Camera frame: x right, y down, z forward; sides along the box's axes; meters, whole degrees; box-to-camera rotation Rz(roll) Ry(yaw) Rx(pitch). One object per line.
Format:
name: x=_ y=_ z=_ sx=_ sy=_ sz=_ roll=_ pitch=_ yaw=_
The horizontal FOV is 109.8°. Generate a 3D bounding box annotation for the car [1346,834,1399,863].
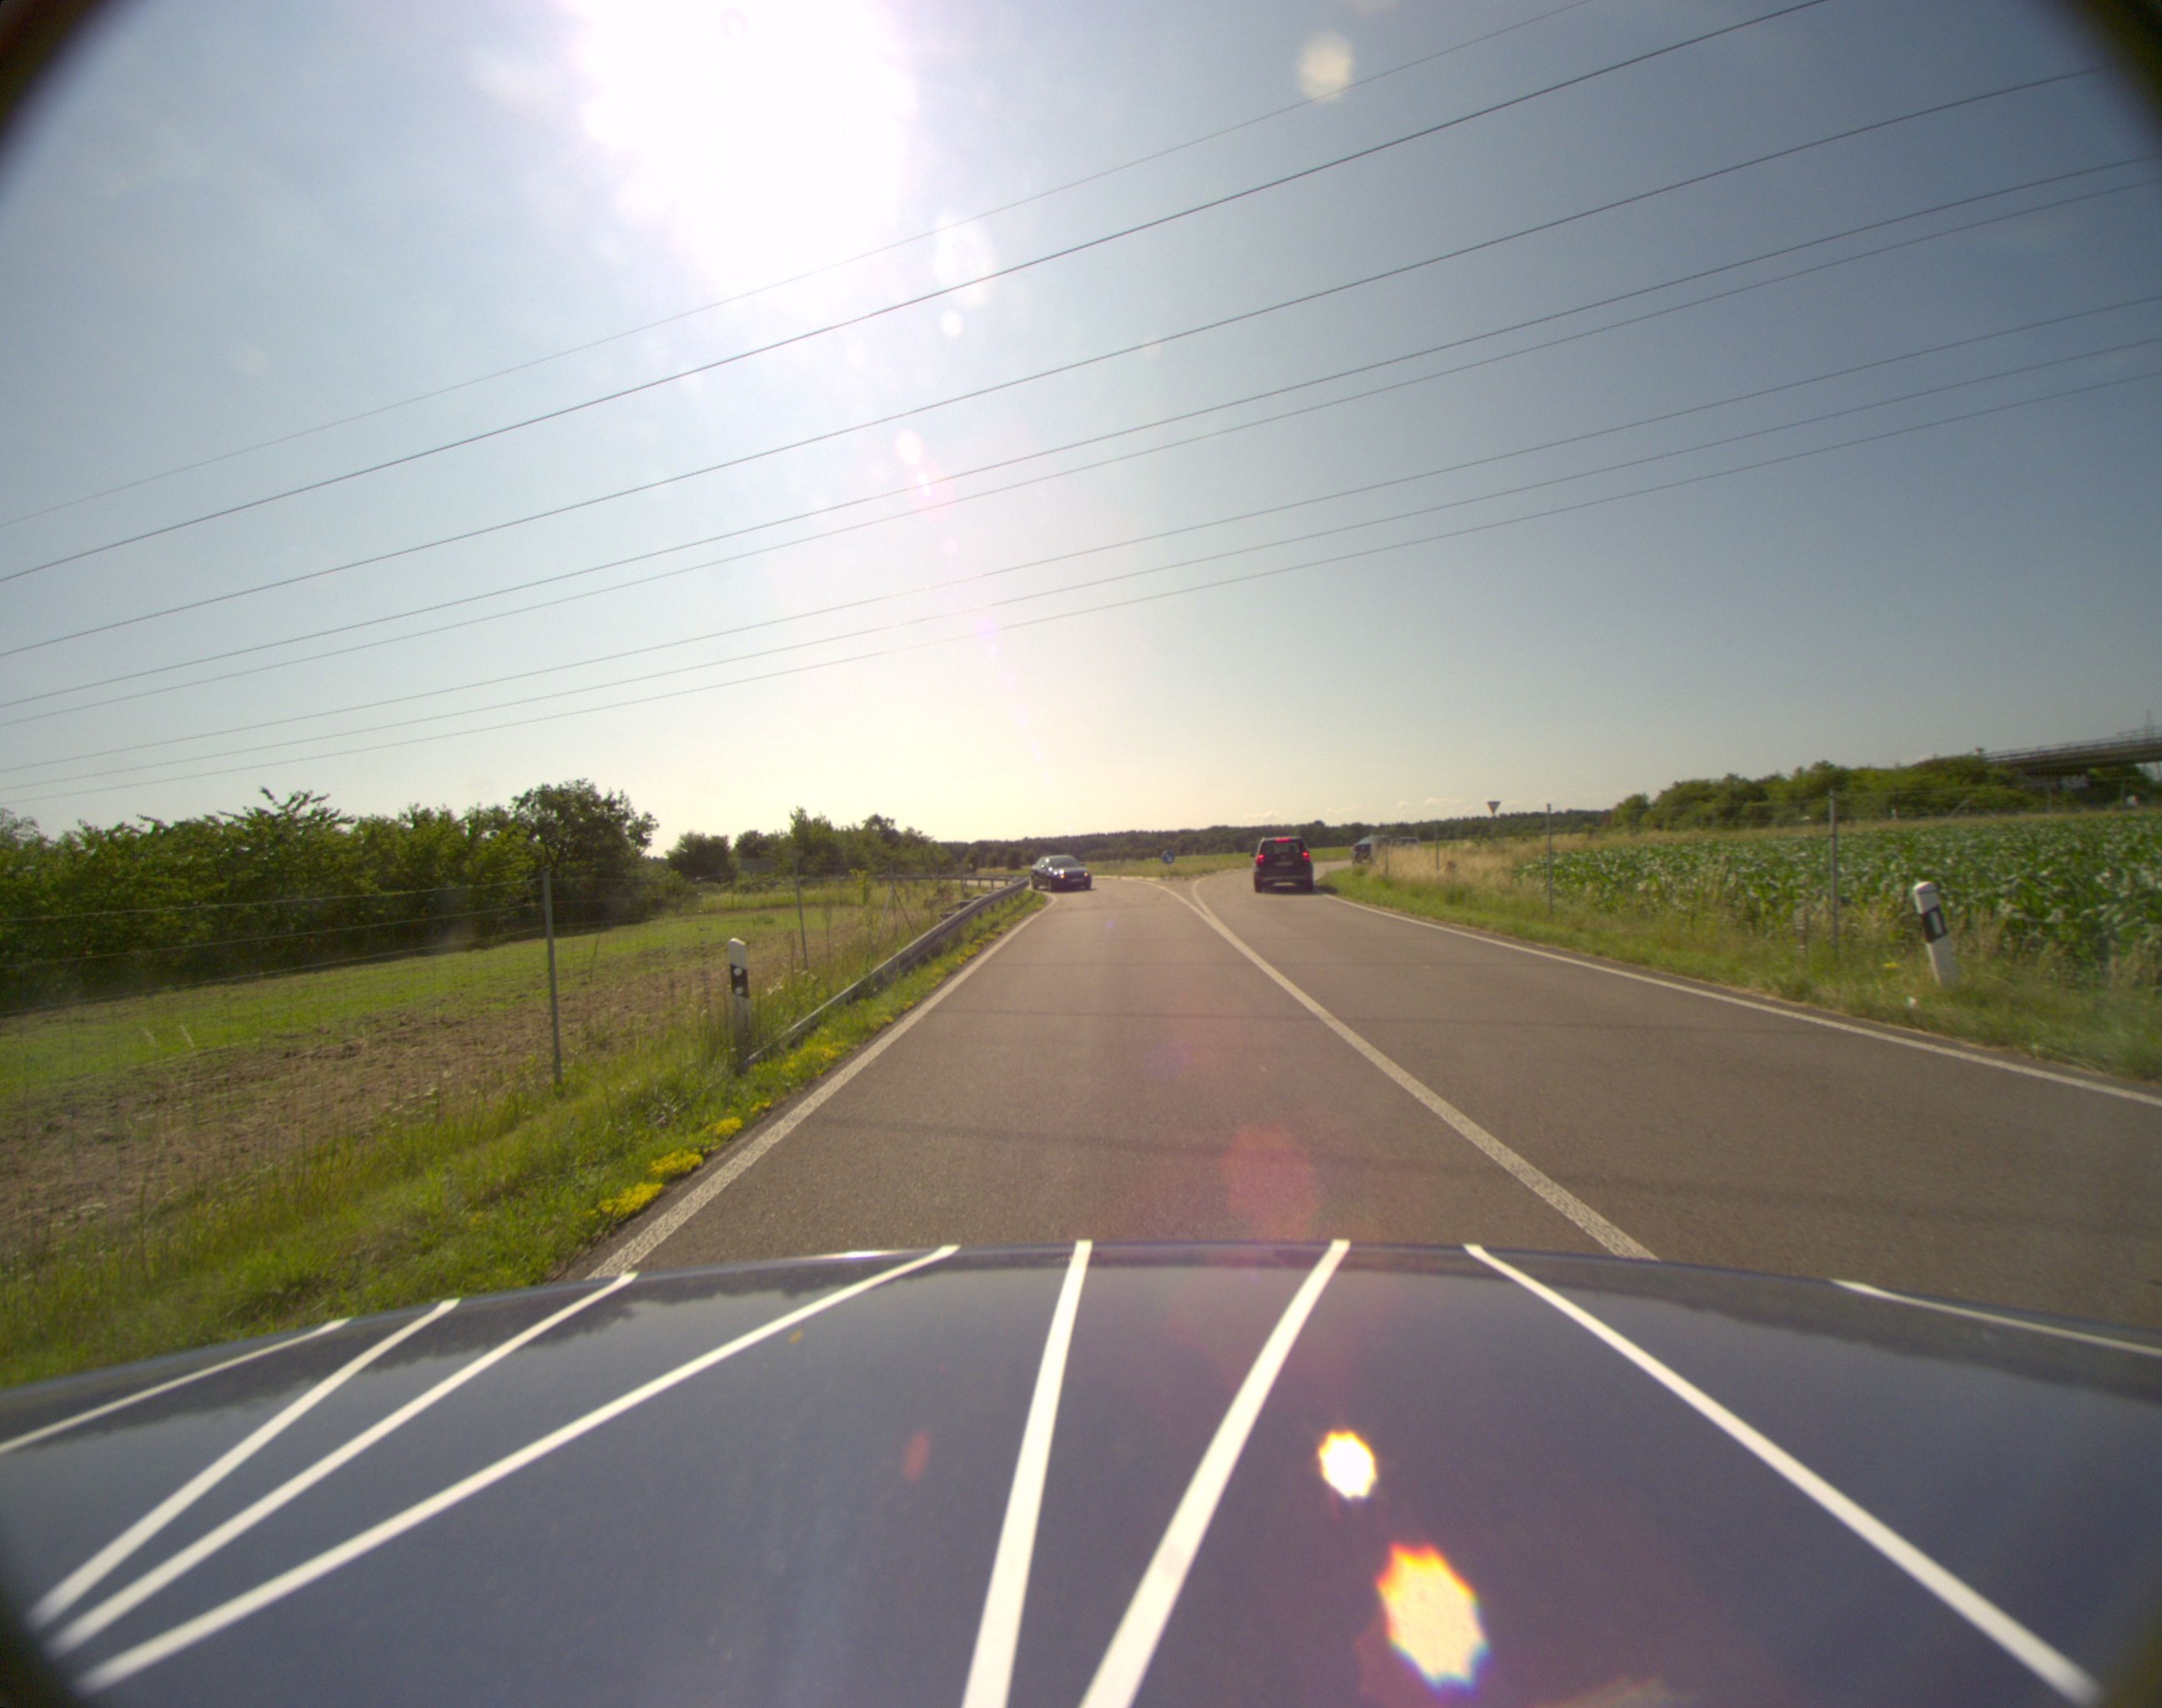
car: x=16.231 y=-0.343 z=42.194 sx=1.776 sy=1.448 sz=4.600 roll=-2 pitch=1 yaw=33

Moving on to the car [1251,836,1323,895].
car: x=6.562 y=0.299 z=24.614 sx=1.987 sy=1.697 sz=4.264 roll=-2 pitch=1 yaw=12

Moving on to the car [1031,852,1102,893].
car: x=-0.677 y=0.711 z=32.046 sx=1.889 sy=1.448 sz=4.069 roll=-4 pitch=2 yaw=-17

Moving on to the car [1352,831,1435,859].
car: x=23.568 y=-0.669 z=57.503 sx=5.349 sy=1.630 sz=2.102 roll=-4 pitch=0 yaw=2
